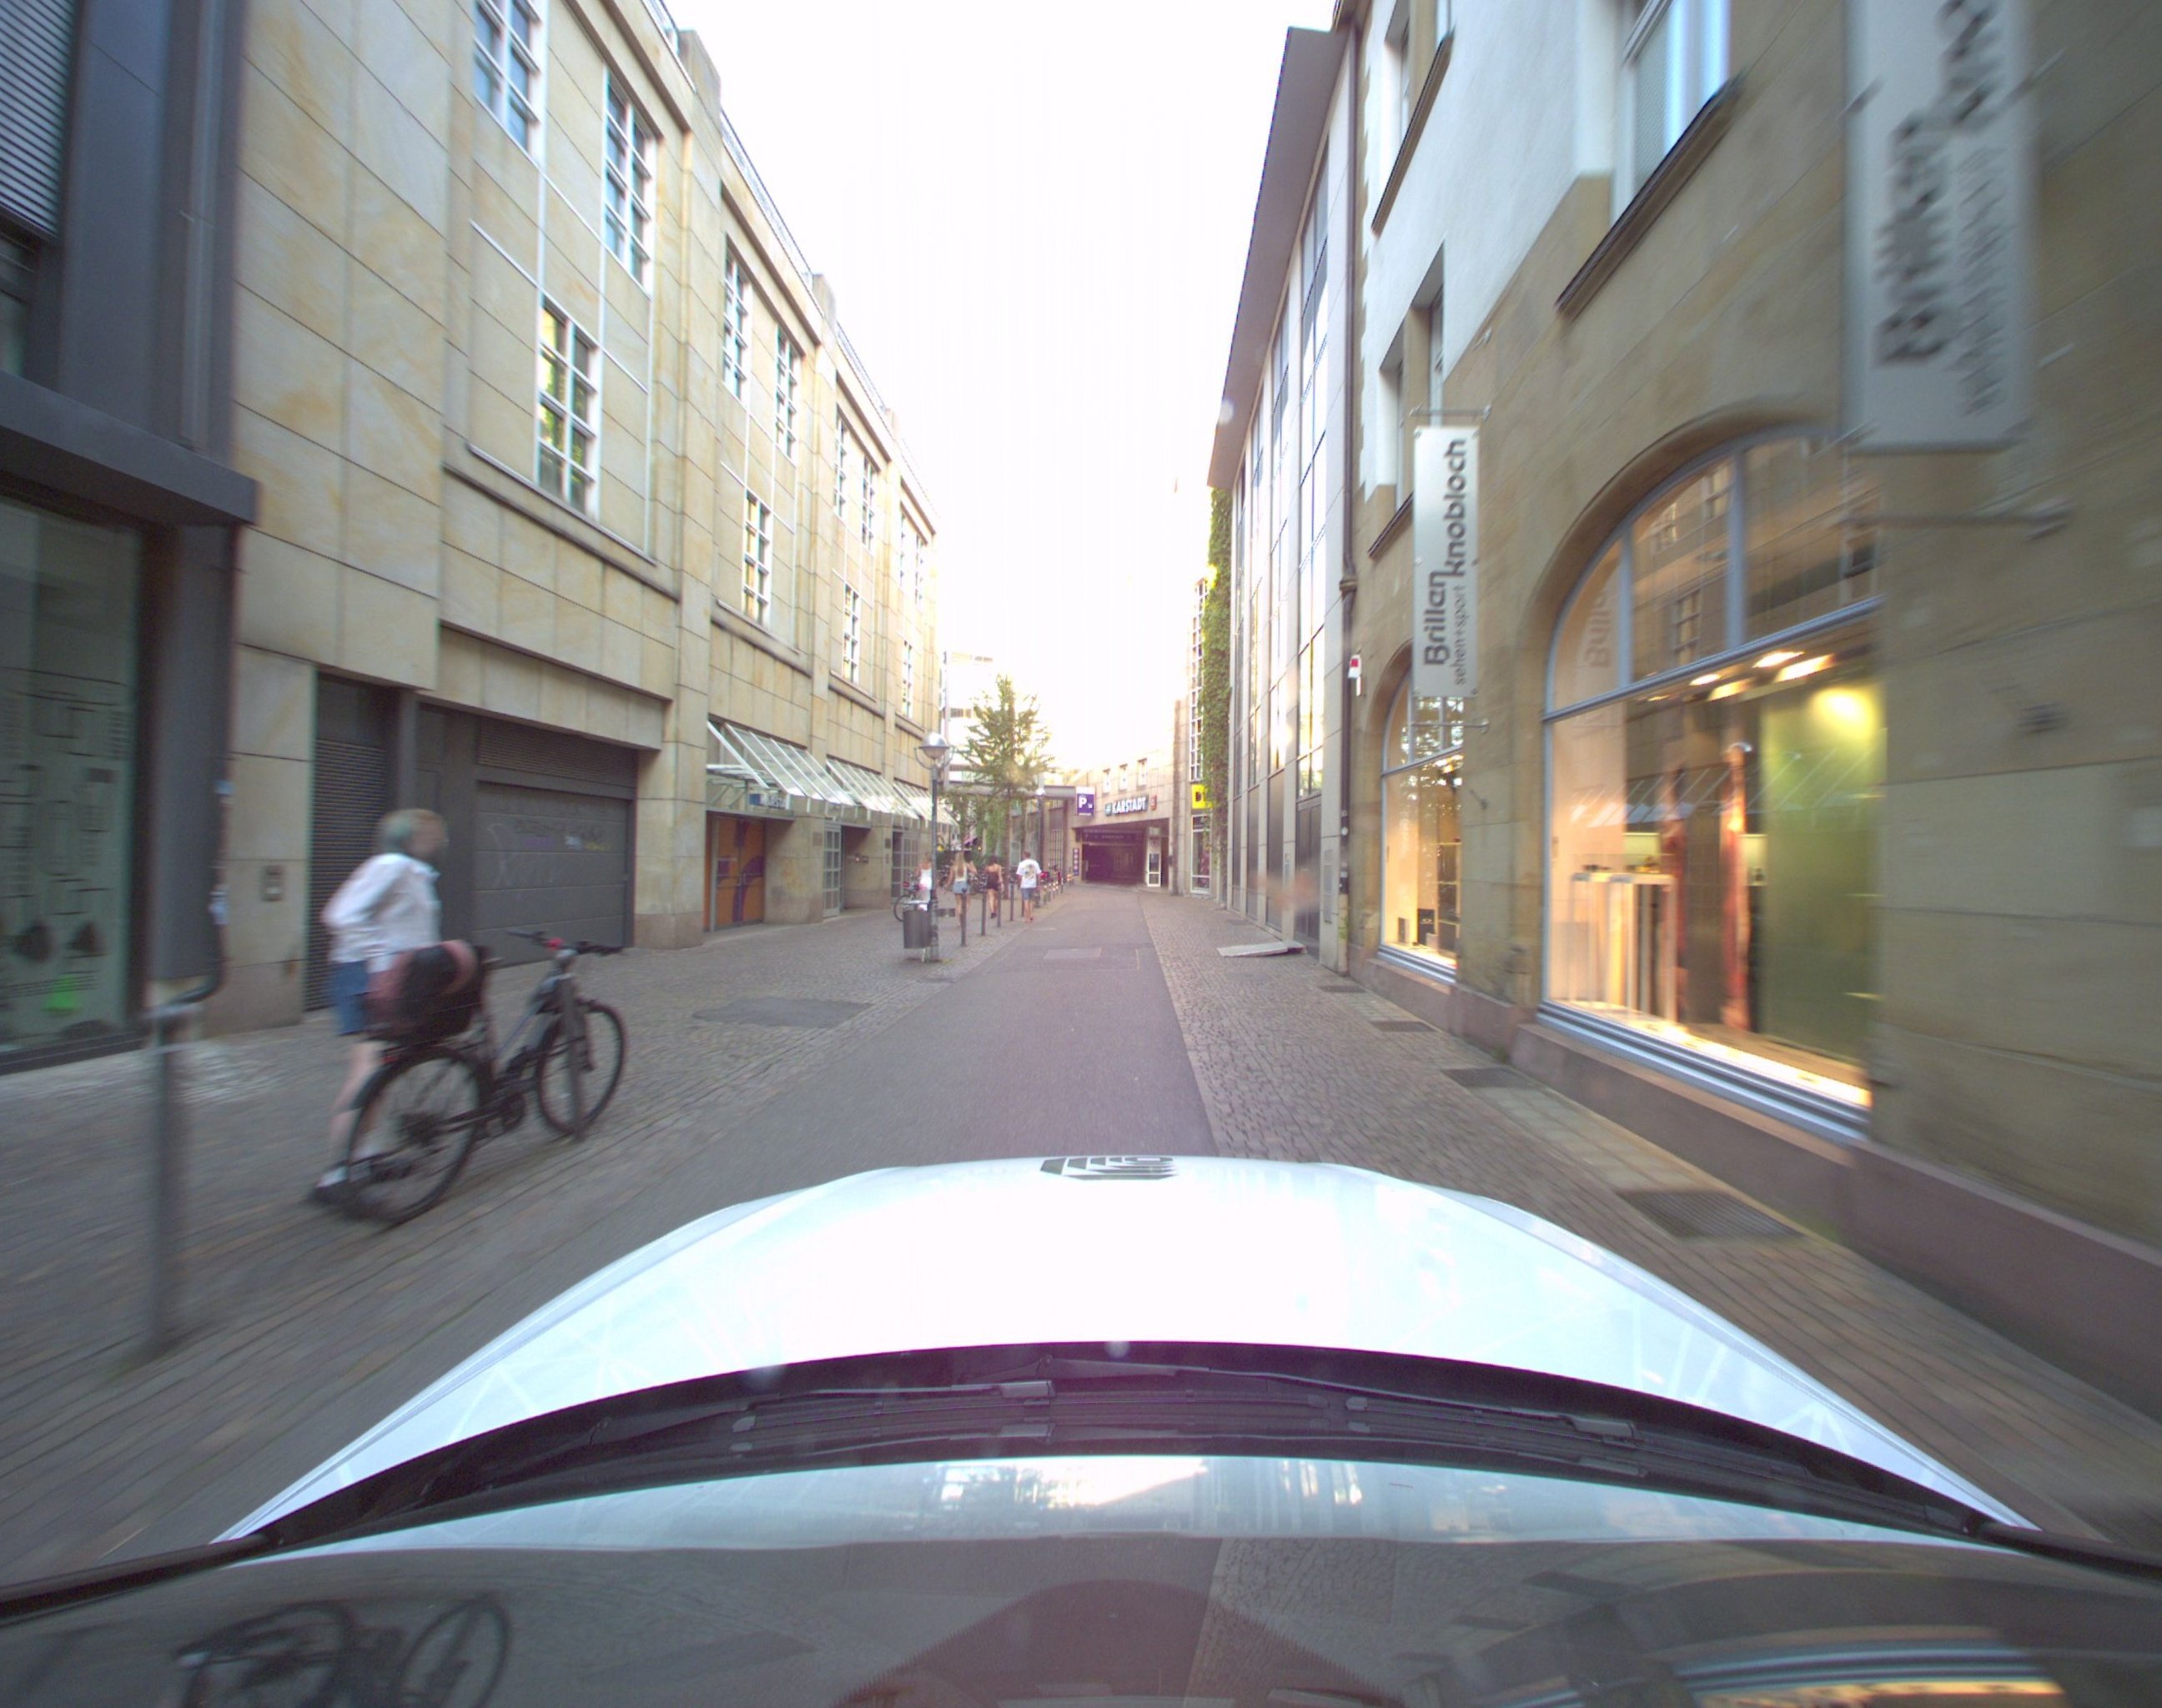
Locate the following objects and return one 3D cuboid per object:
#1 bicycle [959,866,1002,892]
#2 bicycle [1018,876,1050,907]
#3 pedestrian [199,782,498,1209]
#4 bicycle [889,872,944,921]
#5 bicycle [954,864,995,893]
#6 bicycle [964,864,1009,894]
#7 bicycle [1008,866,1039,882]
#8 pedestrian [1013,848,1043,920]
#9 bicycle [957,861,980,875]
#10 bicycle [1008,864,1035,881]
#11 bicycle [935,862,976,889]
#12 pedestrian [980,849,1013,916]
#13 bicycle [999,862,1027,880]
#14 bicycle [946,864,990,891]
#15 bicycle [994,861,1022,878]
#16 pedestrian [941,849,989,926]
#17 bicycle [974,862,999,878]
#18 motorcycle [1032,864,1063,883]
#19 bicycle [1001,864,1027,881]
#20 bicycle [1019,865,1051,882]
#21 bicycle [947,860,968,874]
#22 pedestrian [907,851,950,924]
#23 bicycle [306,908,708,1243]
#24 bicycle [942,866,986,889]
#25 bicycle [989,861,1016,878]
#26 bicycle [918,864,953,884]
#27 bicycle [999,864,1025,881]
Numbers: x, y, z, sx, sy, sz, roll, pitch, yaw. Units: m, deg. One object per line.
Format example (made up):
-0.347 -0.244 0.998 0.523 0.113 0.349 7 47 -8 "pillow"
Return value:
-4.415 1.085 35.812 1.843 1.122 0.530 0 0 -20 "bicycle"
-1.552 1.228 27.095 0.489 0.939 1.666 2 0 17 "bicycle"
-3.238 0.579 3.685 0.770 1.718 0.588 2 0 -19 "pedestrian"
-4.080 1.029 20.316 0.517 1.138 1.773 0 0 19 "bicycle"
-4.569 1.037 34.924 1.659 1.231 0.530 0 0 -20 "bicycle"
-3.911 1.018 33.624 1.772 1.231 0.530 0 0 -20 "bicycle"
-3.434 1.176 48.259 1.778 0.904 0.461 0 0 -18 "bicycle"
-1.369 0.764 20.995 0.740 1.822 0.877 0 0 -4 "pedestrian"
-8.888 1.117 64.285 1.777 1.114 0.540 0 0 -16 "bicycle"
-3.608 1.105 49.191 1.544 1.049 0.572 0 0 -18 "bicycle"
-5.843 0.983 38.018 1.839 1.225 0.530 0 0 -20 "bicycle"
-2.304 0.757 22.117 0.785 1.795 0.968 0 0 -12 "pedestrian"
-4.418 1.098 52.794 1.778 1.114 0.539 0 0 -18 "bicycle"
-5.100 1.043 36.789 1.879 1.177 0.530 0 0 -20 "bicycle"
-4.942 1.066 55.088 1.778 1.114 0.539 0 0 -18 "bicycle"
-2.671 0.758 18.854 0.801 1.729 0.951 1 0 11 "pedestrian"
-6.782 1.135 58.437 1.778 1.114 0.539 0 0 -18 "bicycle"
-1.860 1.073 45.669 1.667 1.050 0.461 0 0 -18 "motorcycle"
-4.125 1.154 50.211 1.544 1.049 0.572 0 0 -18 "bicycle"
-2.677 1.138 47.384 1.853 0.982 0.461 0 0 -18 "bicycle"
-10.539 1.105 69.535 1.778 1.190 0.583 0 0 -18 "bicycle"
-3.568 0.775 19.104 0.670 1.664 0.863 1 0 12 "pedestrian"
-2.680 0.926 4.133 0.530 1.153 1.917 2 0 4 "bicycle"
-5.355 1.065 37.327 1.900 1.052 0.530 0 0 -20 "bicycle"
-5.440 1.055 56.136 1.778 1.114 0.539 0 0 -18 "bicycle"
-7.793 1.072 43.627 1.831 1.043 0.530 0 0 -20 "bicycle"
-4.370 1.183 51.616 1.544 1.049 0.572 0 0 -18 "bicycle"
